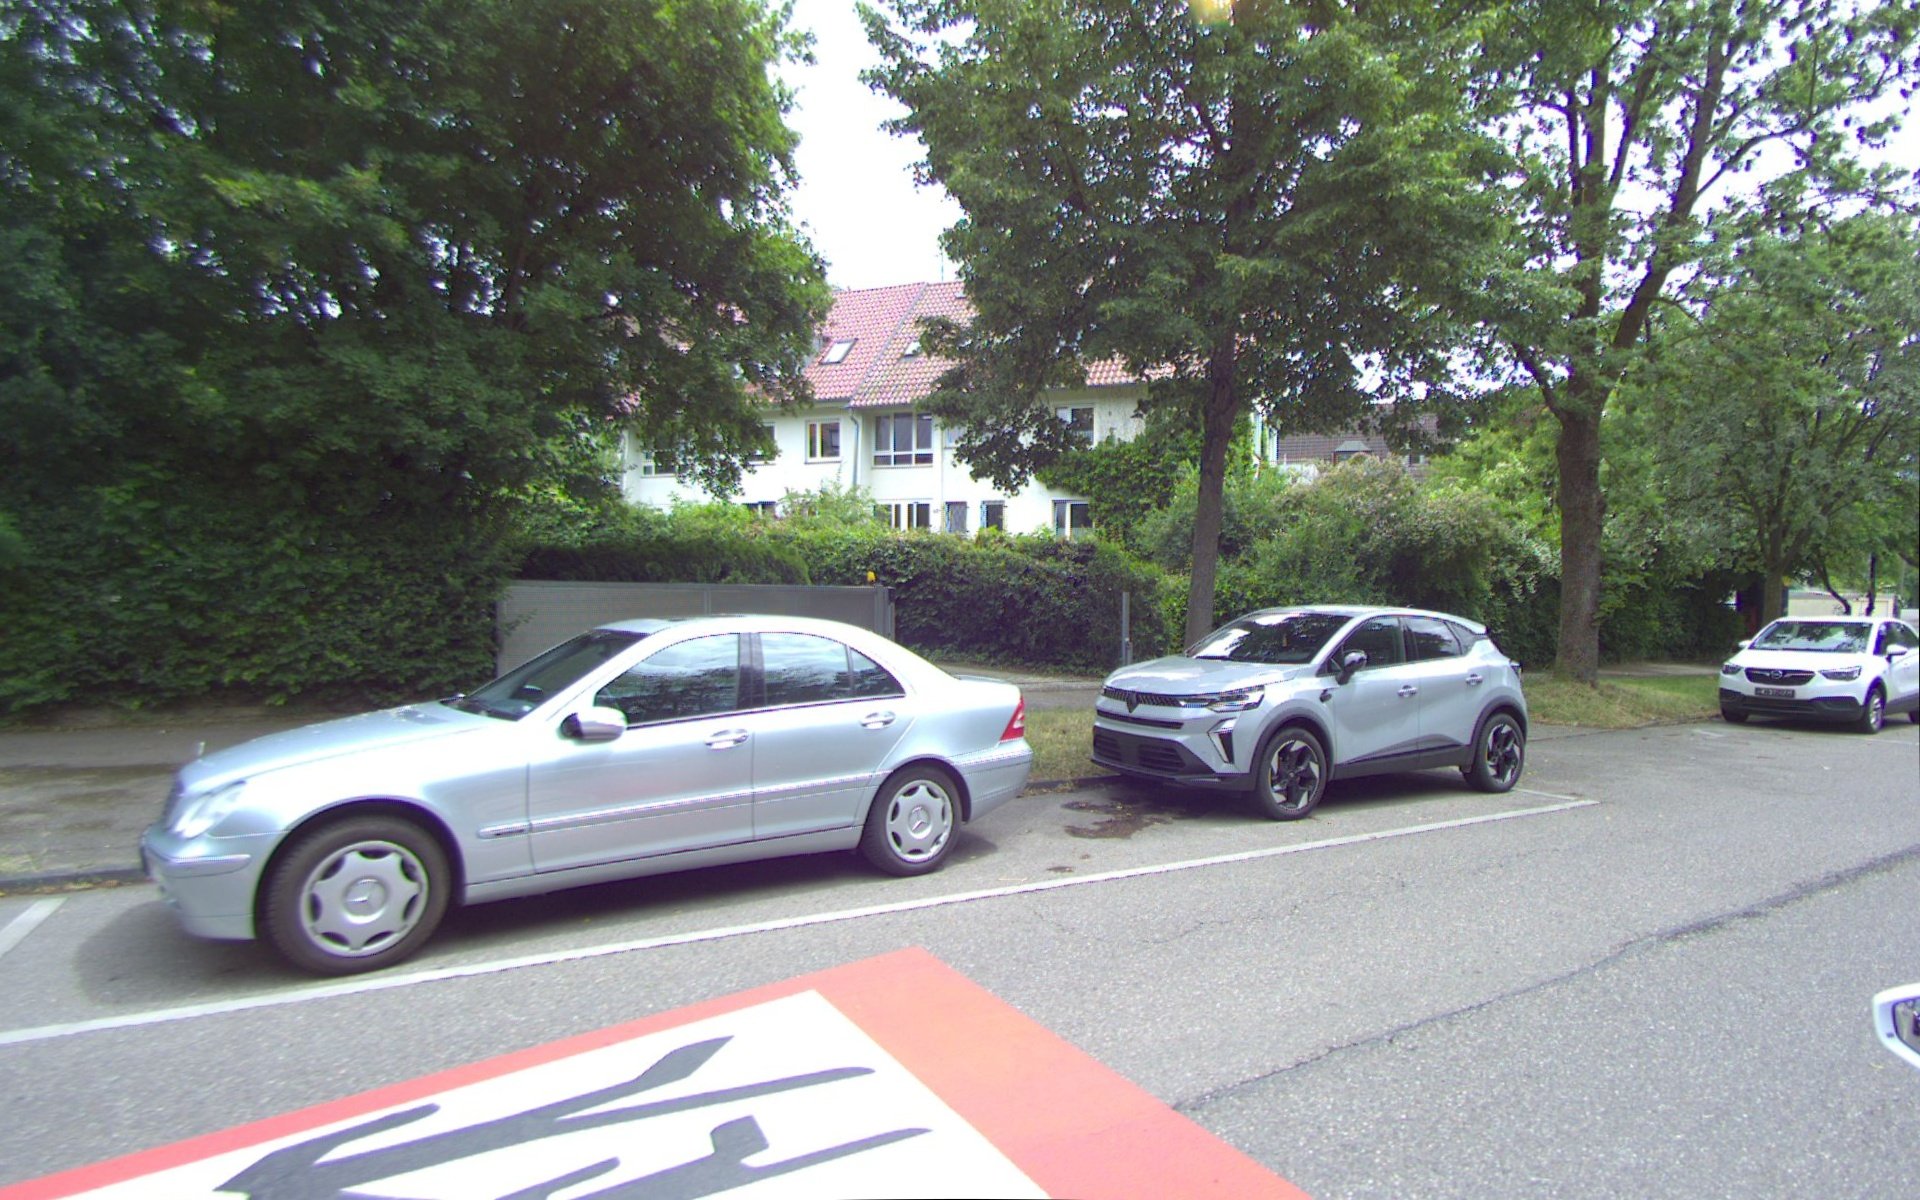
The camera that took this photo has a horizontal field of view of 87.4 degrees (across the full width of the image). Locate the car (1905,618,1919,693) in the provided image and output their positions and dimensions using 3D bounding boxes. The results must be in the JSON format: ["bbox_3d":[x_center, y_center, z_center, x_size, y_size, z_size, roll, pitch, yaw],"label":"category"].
[{"bbox_3d":[22.153,1.197,21.674,4.187,1.558,1.853,1,0,-37],"label":"car"}]

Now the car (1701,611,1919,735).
[{"bbox_3d":[12.902,0.991,14.953,4.097,1.600,1.725,1,-1,-34],"label":"car"}]

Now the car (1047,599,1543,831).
[{"bbox_3d":[2.927,0.806,8.547,4.140,1.558,1.727,1,-1,-31],"label":"car"}]

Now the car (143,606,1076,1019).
[{"bbox_3d":[-1.569,0.780,5.530,4.430,1.435,1.723,1,-1,-37],"label":"car"}]
